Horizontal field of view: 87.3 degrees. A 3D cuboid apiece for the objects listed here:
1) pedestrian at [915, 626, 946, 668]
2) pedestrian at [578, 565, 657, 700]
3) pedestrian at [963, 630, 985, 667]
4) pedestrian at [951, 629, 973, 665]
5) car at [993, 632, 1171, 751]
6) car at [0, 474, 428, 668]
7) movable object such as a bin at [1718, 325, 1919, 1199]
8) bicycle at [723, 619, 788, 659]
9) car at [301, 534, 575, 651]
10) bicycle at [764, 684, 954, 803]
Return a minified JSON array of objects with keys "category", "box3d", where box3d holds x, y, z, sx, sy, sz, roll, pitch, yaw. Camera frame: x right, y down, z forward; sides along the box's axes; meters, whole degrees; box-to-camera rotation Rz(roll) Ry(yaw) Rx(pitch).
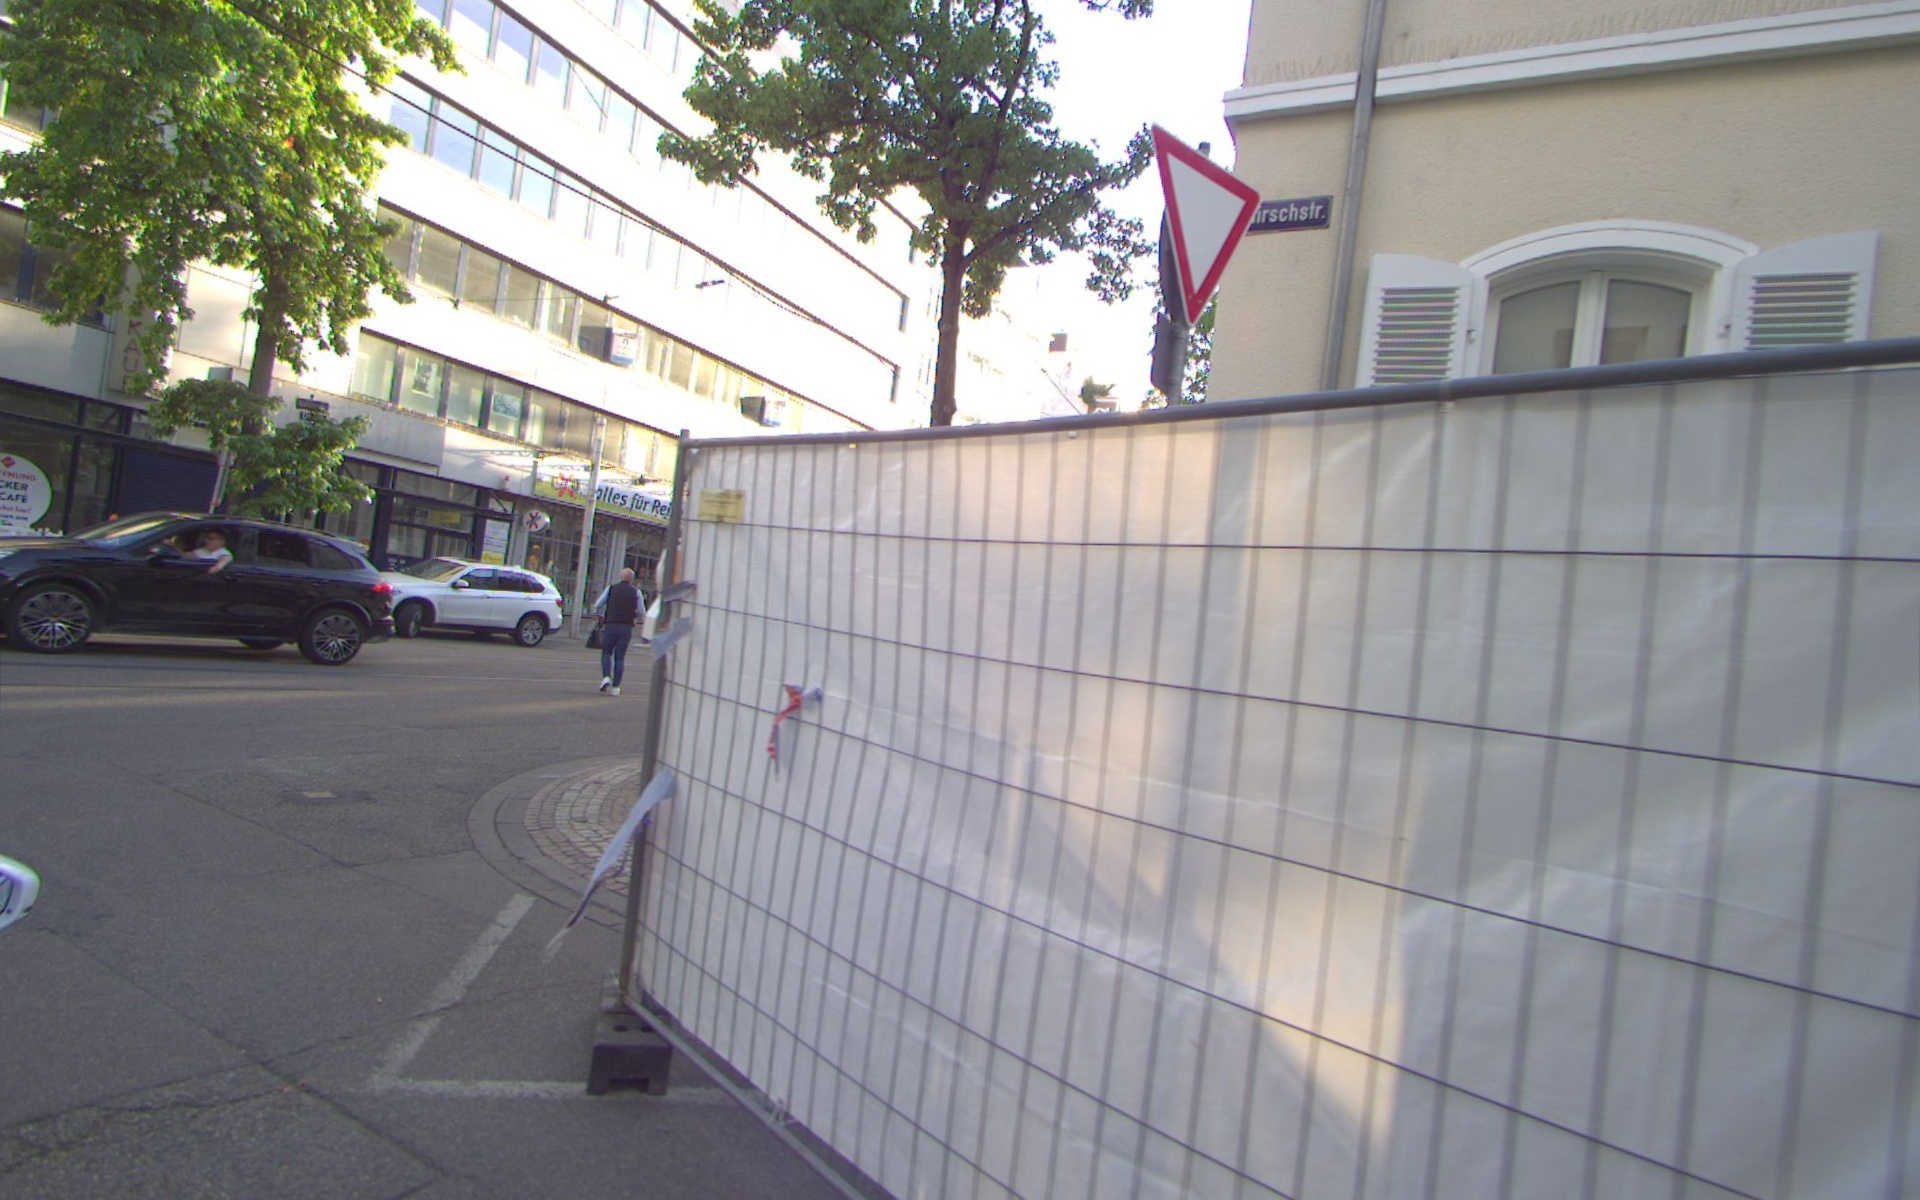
[{"category":"pedestrian","box3d":[-1.337,2.118,45.296,0.791,1.798,0.971,7,0,28]},{"category":"pedestrian","box3d":[-4.919,0.446,14.417,0.795,1.798,1.066,7,0,-24]},{"category":"pedestrian","box3d":[0.715,2.511,51.811,0.617,1.798,0.815,7,0,27]},{"category":"pedestrian","box3d":[0.116,2.437,52.089,0.617,1.798,0.815,7,0,27]},{"category":"car","box3d":[2.341,1.711,18.476,1.730,1.814,3.649,4,-4,32]},{"category":"car","box3d":[-9.504,-0.264,12.271,1.987,1.745,4.945,7,-3,28]},{"category":"movable object such as a bin","box3d":[4.442,0.840,1.725,4.373,2.873,2.610,7,0,28]},{"category":"bicycle","box3d":[-6.714,1.272,32.945,1.991,0.964,0.669,10,1,26]},{"category":"car","box3d":[-11.273,-0.072,22.174,1.987,1.795,4.945,9,-1,28]},{"category":"bicycle","box3d":[-1.132,1.519,11.039,1.369,0.445,1.684,-25,18,-33]}]
